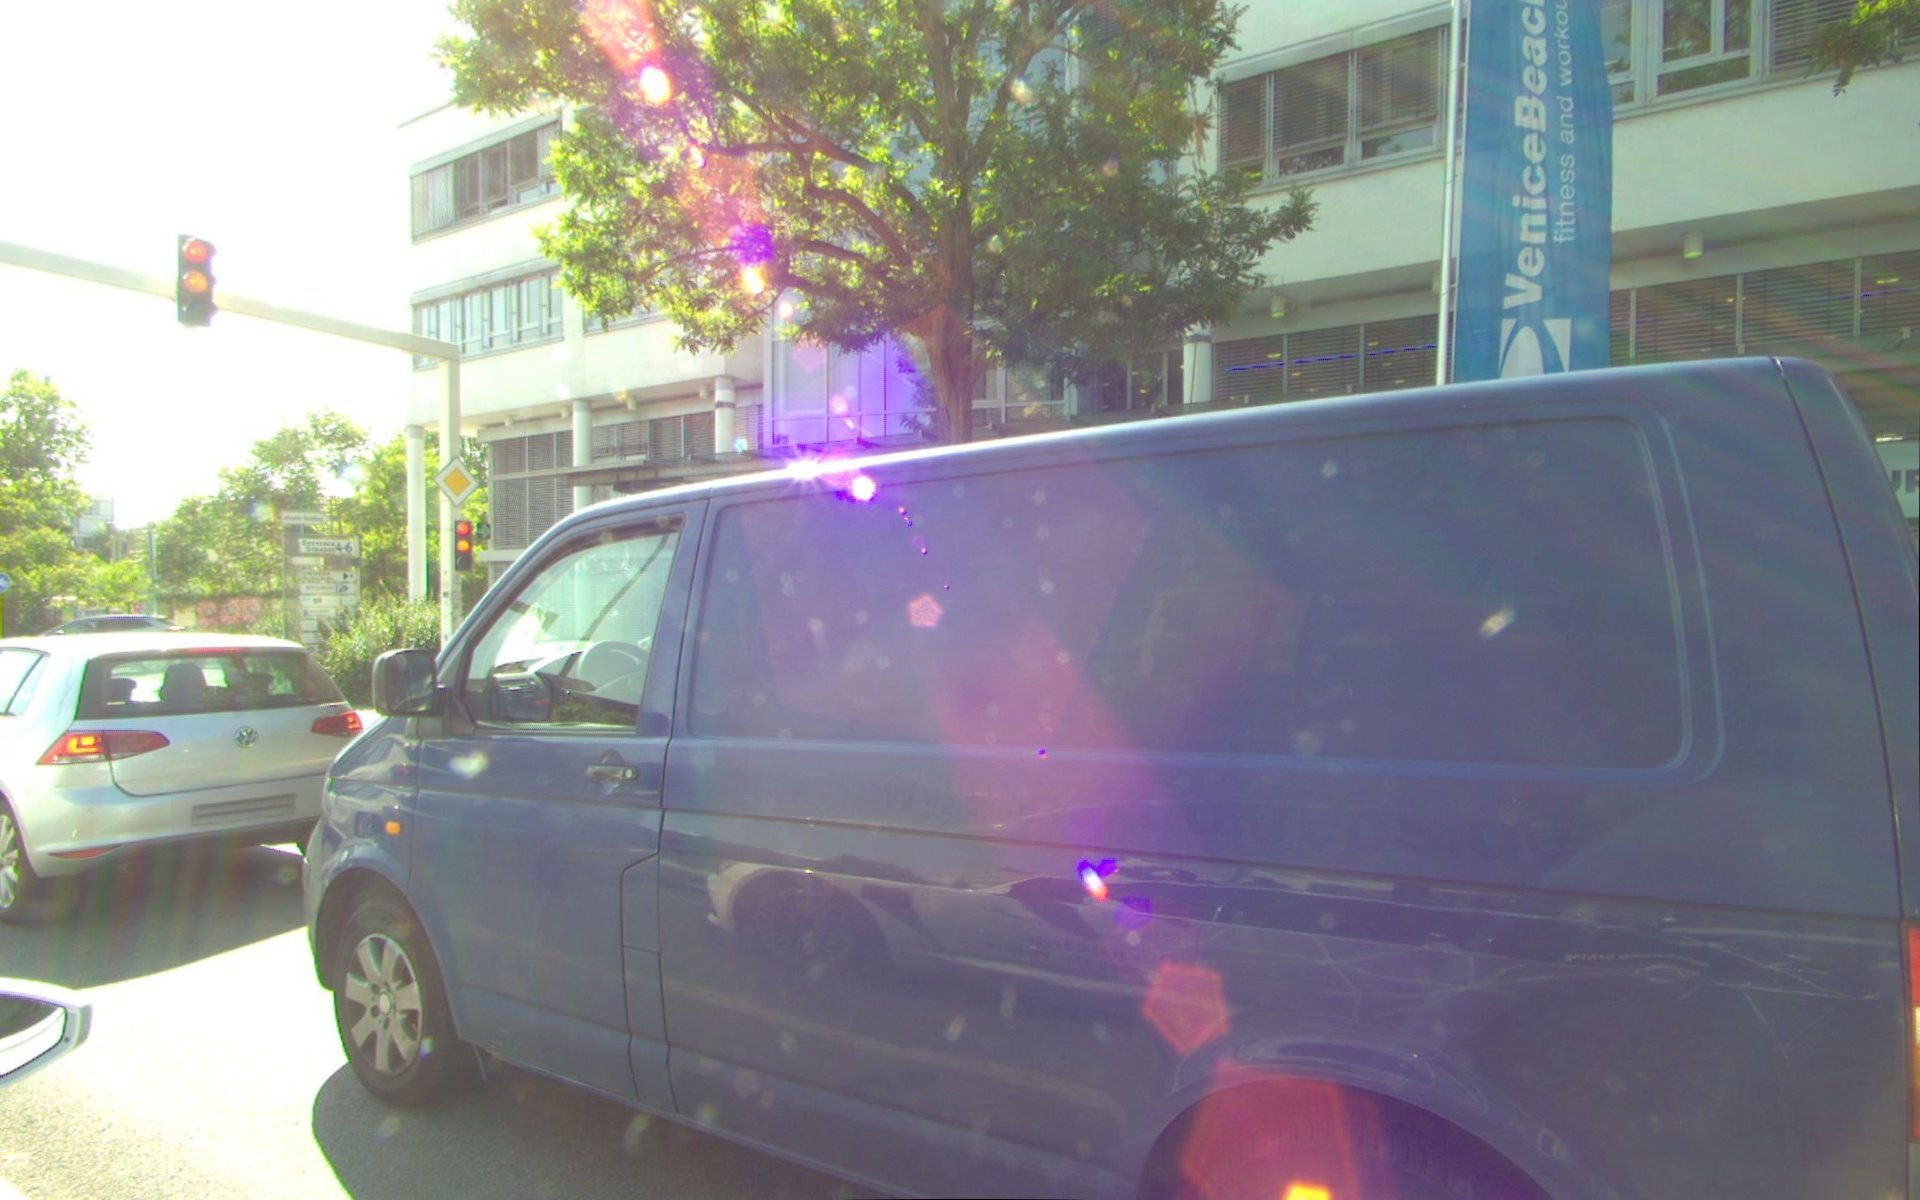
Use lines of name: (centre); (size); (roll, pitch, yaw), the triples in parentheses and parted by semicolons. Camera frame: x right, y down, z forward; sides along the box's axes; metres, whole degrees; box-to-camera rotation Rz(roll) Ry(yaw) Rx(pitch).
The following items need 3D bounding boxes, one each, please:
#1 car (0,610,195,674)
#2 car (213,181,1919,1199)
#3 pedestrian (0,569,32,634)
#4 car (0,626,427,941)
car: (-24.666, 1.146, 28.555); (4.384, 1.572, 1.983); (-2, 1, -41)
car: (-0.122, 0.541, 3.171); (4.821, 1.973, 1.989); (-1, -1, 32)
pedestrian: (-30.196, 0.052, 31.653); (1.023, 2.040, 1.025); (0, 0, 32)
car: (-5.501, 0.922, 6.472); (3.940, 1.448, 1.805); (-1, -1, 30)
